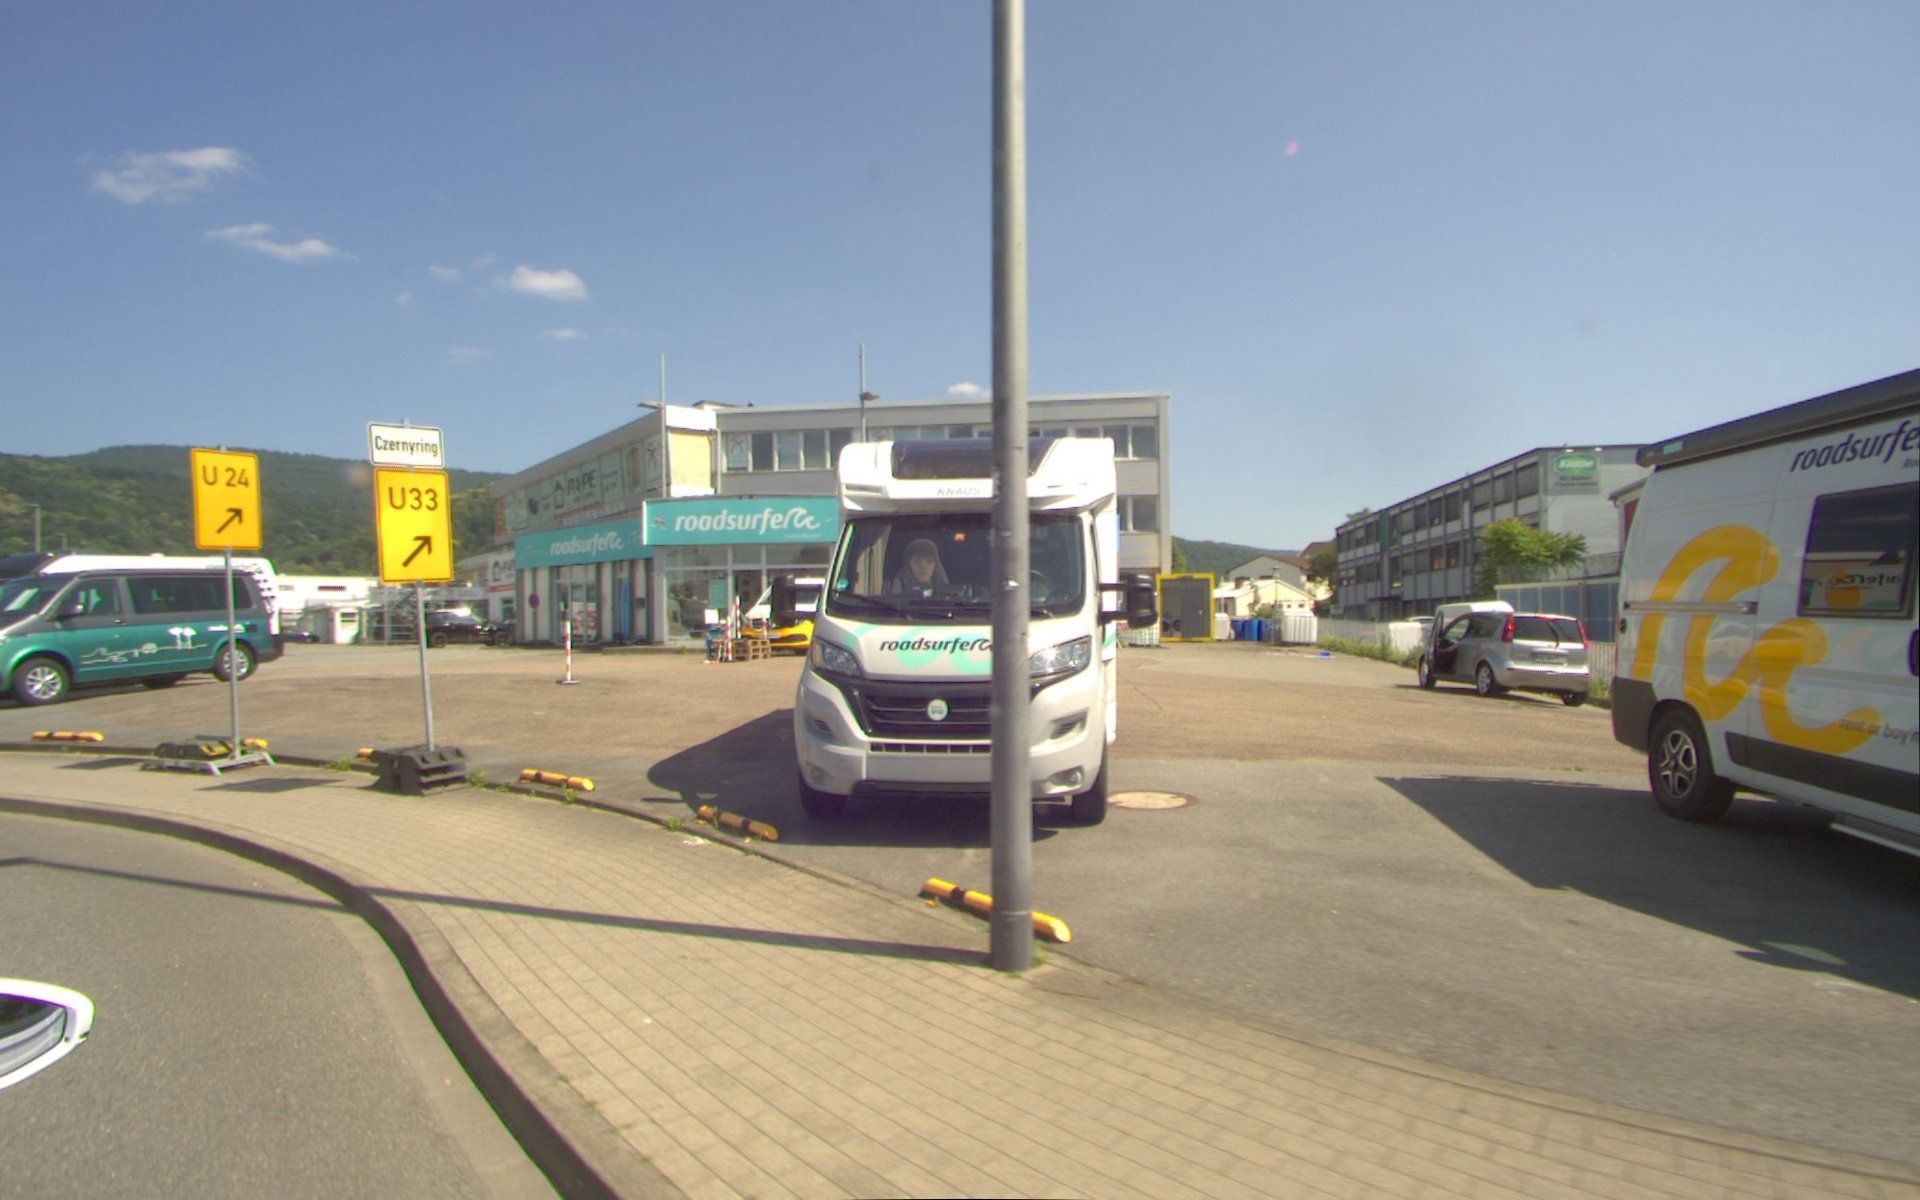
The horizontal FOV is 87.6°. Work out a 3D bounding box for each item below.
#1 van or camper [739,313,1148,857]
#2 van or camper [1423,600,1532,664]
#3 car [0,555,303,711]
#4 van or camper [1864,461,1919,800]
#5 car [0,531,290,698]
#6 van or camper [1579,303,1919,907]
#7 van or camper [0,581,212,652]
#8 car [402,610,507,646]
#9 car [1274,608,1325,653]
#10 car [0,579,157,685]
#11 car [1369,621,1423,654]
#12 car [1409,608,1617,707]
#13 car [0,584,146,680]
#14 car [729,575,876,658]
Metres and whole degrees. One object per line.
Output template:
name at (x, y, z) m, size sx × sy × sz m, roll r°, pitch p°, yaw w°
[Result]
van or camper at (0.279, -0.077, 9.146) m, size 2.290 × 2.985 × 7.082 m, roll 0°, pitch 0°, yaw 6°
van or camper at (23.770, 1.472, 46.380) m, size 2.301 × 2.714 × 6.744 m, roll 0°, pitch -2°, yaw 7°
car at (-13.733, 0.492, 16.209) m, size 2.058 × 2.141 × 5.224 m, roll 0°, pitch -1°, yaw 12°
van or camper at (8.669, 0.207, 6.102) m, size 2.009 × 2.850 × 5.524 m, roll 2°, pitch -1°, yaw 10°
car at (-16.405, 0.277, 19.064) m, size 2.264 × 2.752 × 6.152 m, roll 0°, pitch -1°, yaw 14°
van or camper at (5.556, 0.039, 4.980) m, size 2.050 × 2.810 × 5.828 m, roll 1°, pitch -1°, yaw 9°
van or camper at (-33.620, 0.667, 39.543) m, size 6.450 × 2.594 × 2.951 m, roll 1°, pitch -1°, yaw -39°
car at (-22.824, 1.241, 45.233) m, size 3.955 × 1.538 × 1.875 m, roll 1°, pitch -1°, yaw -39°
car at (20.350, 1.827, 60.239) m, size 2.071 × 2.559 × 5.606 m, roll 0°, pitch -2°, yaw 10°
car at (-19.149, 0.631, 19.584) m, size 1.988 × 2.026 × 5.153 m, roll -1°, pitch -1°, yaw 16°
car at (17.483, 1.488, 40.224) m, size 1.201 × 1.265 × 2.938 m, roll 0°, pitch -1°, yaw 7°
car at (9.991, 0.986, 18.466) m, size 1.781 × 1.535 × 3.897 m, roll 3°, pitch -1°, yaw 3°
car at (-21.244, 0.679, 21.868) m, size 1.897 × 2.040 × 5.139 m, roll 0°, pitch 0°, yaw 20°
car at (-3.881, 0.432, 25.725) m, size 2.058 × 1.901 × 5.099 m, roll -1°, pitch -1°, yaw 12°
